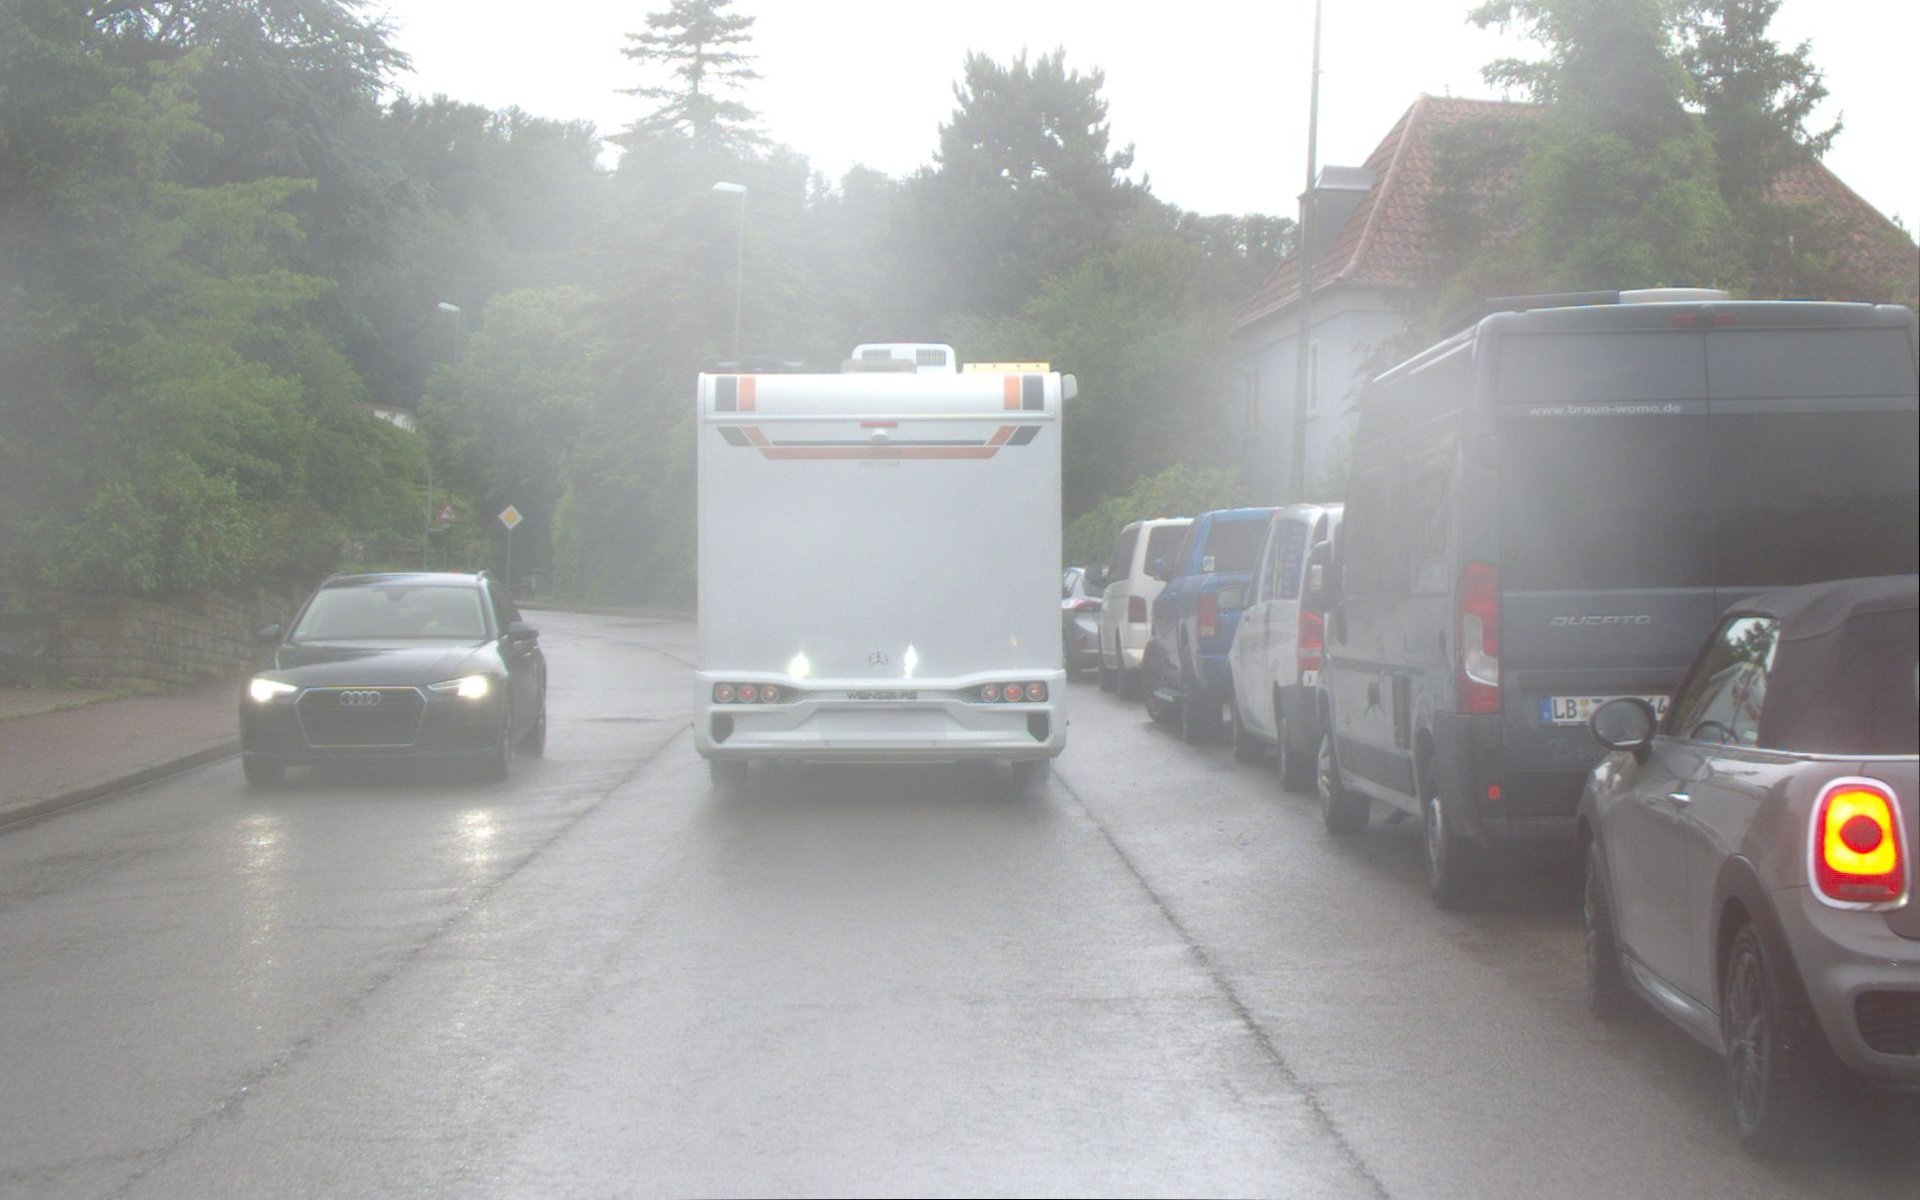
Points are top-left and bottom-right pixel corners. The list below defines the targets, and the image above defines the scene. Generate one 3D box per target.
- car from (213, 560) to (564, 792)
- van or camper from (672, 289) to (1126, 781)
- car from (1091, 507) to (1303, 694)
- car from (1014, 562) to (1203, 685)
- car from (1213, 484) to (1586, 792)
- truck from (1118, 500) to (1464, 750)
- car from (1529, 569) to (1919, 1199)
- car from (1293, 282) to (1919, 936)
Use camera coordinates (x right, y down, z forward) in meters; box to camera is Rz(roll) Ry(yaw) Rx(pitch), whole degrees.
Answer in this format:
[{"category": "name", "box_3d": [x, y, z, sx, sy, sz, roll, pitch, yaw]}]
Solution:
[{"category": "car", "box_3d": [-3.975, 0.467, 24.589, 1.774, 1.432, 4.362, -2, 1, -1]}, {"category": "van or camper", "box_3d": [-0.316, -0.344, 23.417, 2.616, 2.843, 6.030, 2, -1, 1]}, {"category": "car", "box_3d": [2.574, -0.036, 38.507, 1.860, 1.914, 5.080, 1, 1, -1]}, {"category": "car", "box_3d": [1.854, 0.269, 44.196, 1.685, 1.452, 4.058, 1, 1, -8]}, {"category": "car", "box_3d": [2.837, 0.196, 23.312, 1.827, 1.836, 5.270, -1, 1, 0]}, {"category": "truck", "box_3d": [2.700, 0.149, 29.787, 2.113, 1.845, 6.619, 2, 1, -2]}, {"category": "car", "box_3d": [2.695, 0.634, 9.725, 1.589, 1.424, 3.797, 0, 1, 1]}, {"category": "car", "box_3d": [2.885, -0.005, 16.160, 2.031, 2.497, 5.956, 0, 1, 0]}]
